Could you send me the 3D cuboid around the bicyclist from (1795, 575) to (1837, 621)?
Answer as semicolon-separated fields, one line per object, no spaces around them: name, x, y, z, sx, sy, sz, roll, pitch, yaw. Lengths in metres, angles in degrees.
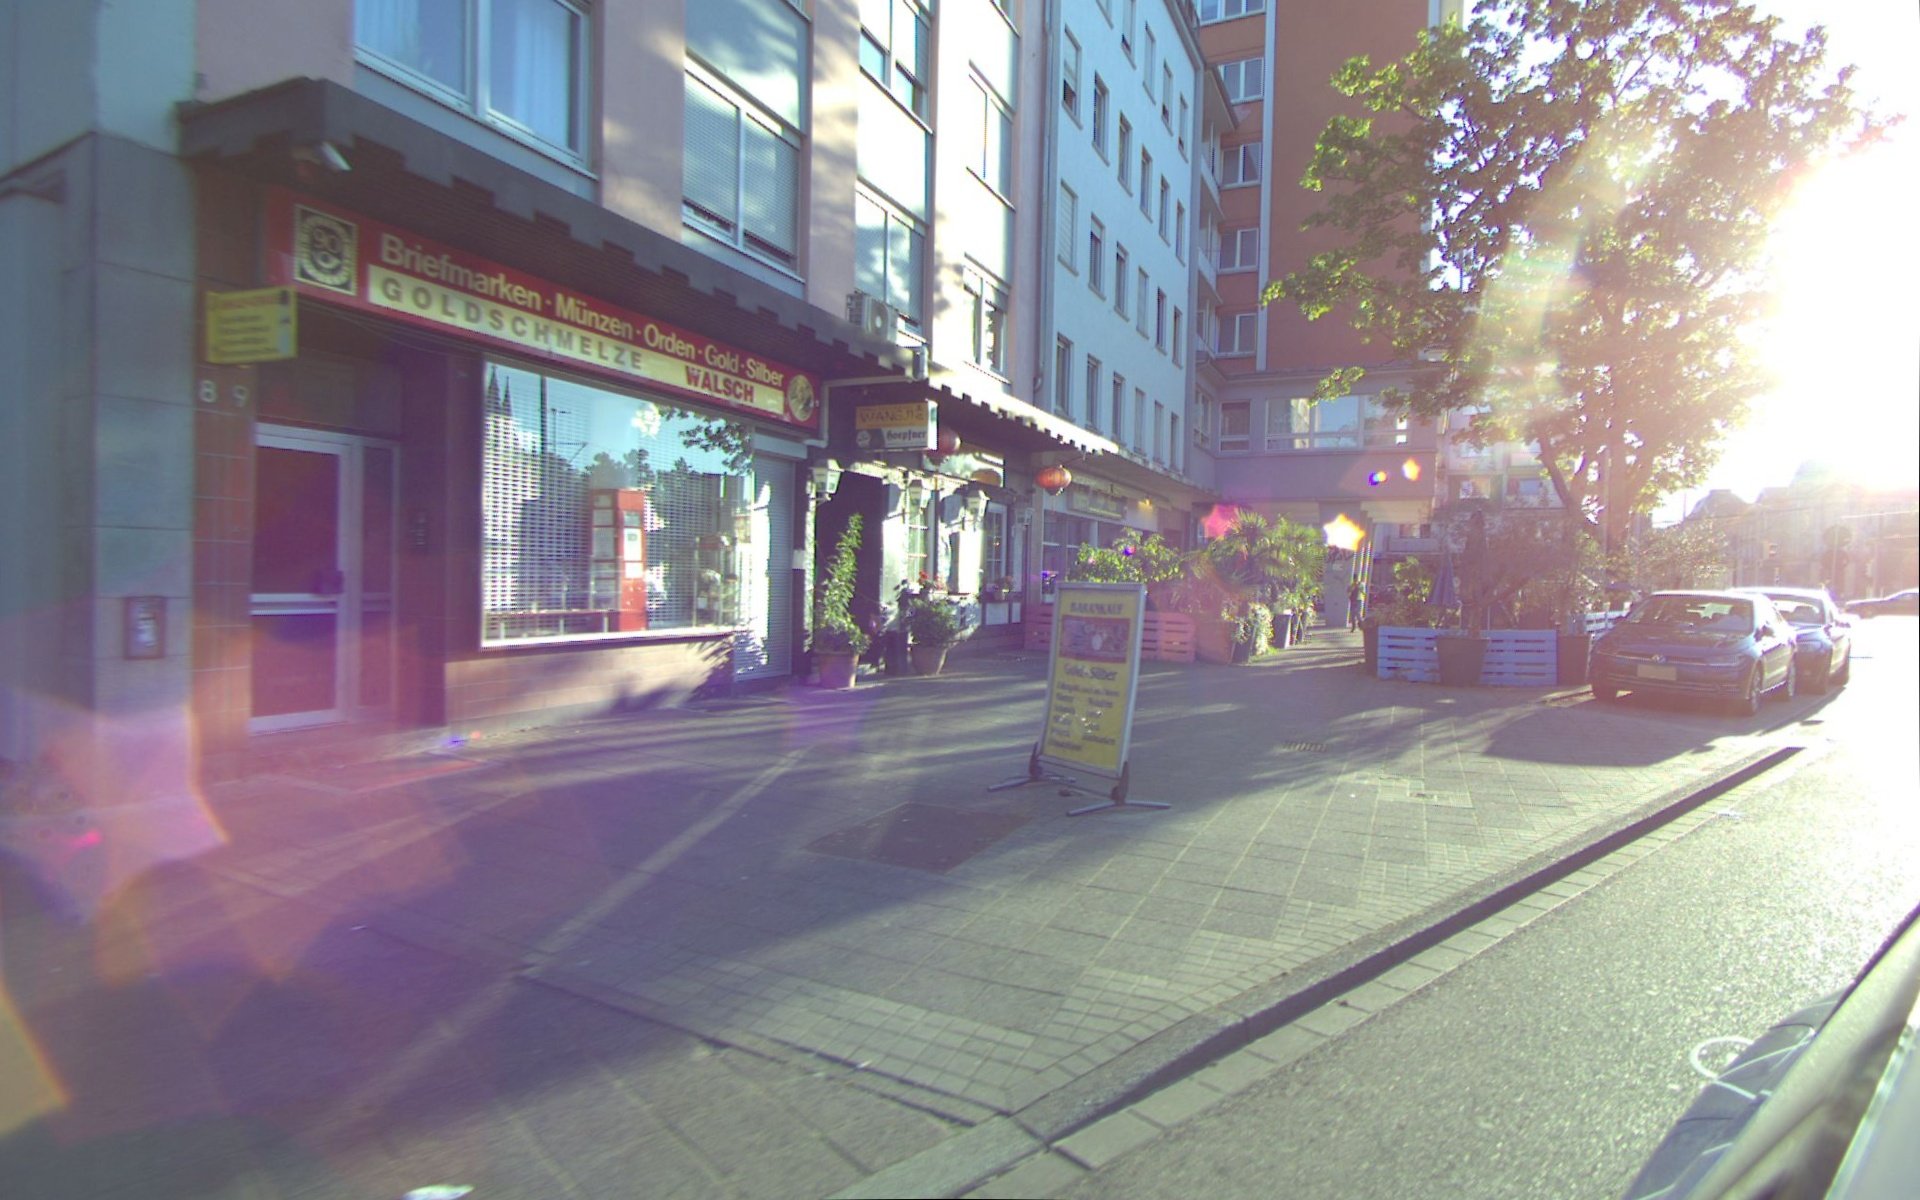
bicyclist;28.054;-0.067;33.177;0.788;1.499;0.802;0;0;19

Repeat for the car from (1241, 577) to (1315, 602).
car;19.180;-0.651;61.060;3.981;1.487;1.898;1;1;32

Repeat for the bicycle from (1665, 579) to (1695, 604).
bicycle;35.050;-0.425;49.284;0.483;1.197;1.963;0;1;14

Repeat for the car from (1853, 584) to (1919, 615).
car;48.301;-0.044;50.857;5.000;1.526;1.701;1;1;38

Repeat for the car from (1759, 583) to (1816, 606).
car;54.802;-0.392;67.103;1.935;1.512;3.927;1;1;24

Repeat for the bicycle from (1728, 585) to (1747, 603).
bicycle;52.632;-0.437;68.561;0.570;1.215;2.186;0;1;26

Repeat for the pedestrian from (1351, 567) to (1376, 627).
pedestrian;11.933;-0.105;29.940;0.649;1.746;0.870;0;0;24

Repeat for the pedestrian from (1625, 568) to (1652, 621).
pedestrian;26.236;-0.223;39.130;0.700;1.981;0.835;2;2;43

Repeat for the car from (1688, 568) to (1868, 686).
car;13.677;0.361;16.806;4.734;1.691;1.806;0;1;-44

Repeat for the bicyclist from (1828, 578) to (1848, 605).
bicyclist;51.029;-0.507;58.813;0.728;1.587;0.814;0;0;31

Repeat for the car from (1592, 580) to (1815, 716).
car;9.968;0.517;13.462;3.997;1.554;1.653;-1;1;-42

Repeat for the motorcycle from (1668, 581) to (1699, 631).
motorcycle;20.365;0.148;28.479;0.639;1.361;2.173;1;1;37

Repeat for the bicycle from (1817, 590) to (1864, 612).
bicycle;51.123;0.068;58.756;1.955;1.197;0.485;2;1;31

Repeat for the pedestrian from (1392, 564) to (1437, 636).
pedestrian;11.356;-0.001;25.323;0.882;1.747;0.769;2;1;18

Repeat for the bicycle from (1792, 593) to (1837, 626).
bicycle;28.130;0.294;33.347;0.509;1.040;1.783;0;1;19

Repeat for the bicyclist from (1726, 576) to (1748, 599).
bicyclist;52.645;-0.869;68.550;0.986;1.557;0.915;0;0;26

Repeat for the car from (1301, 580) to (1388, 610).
car;20.310;-0.297;53.477;4.147;1.443;1.915;0;3;26
